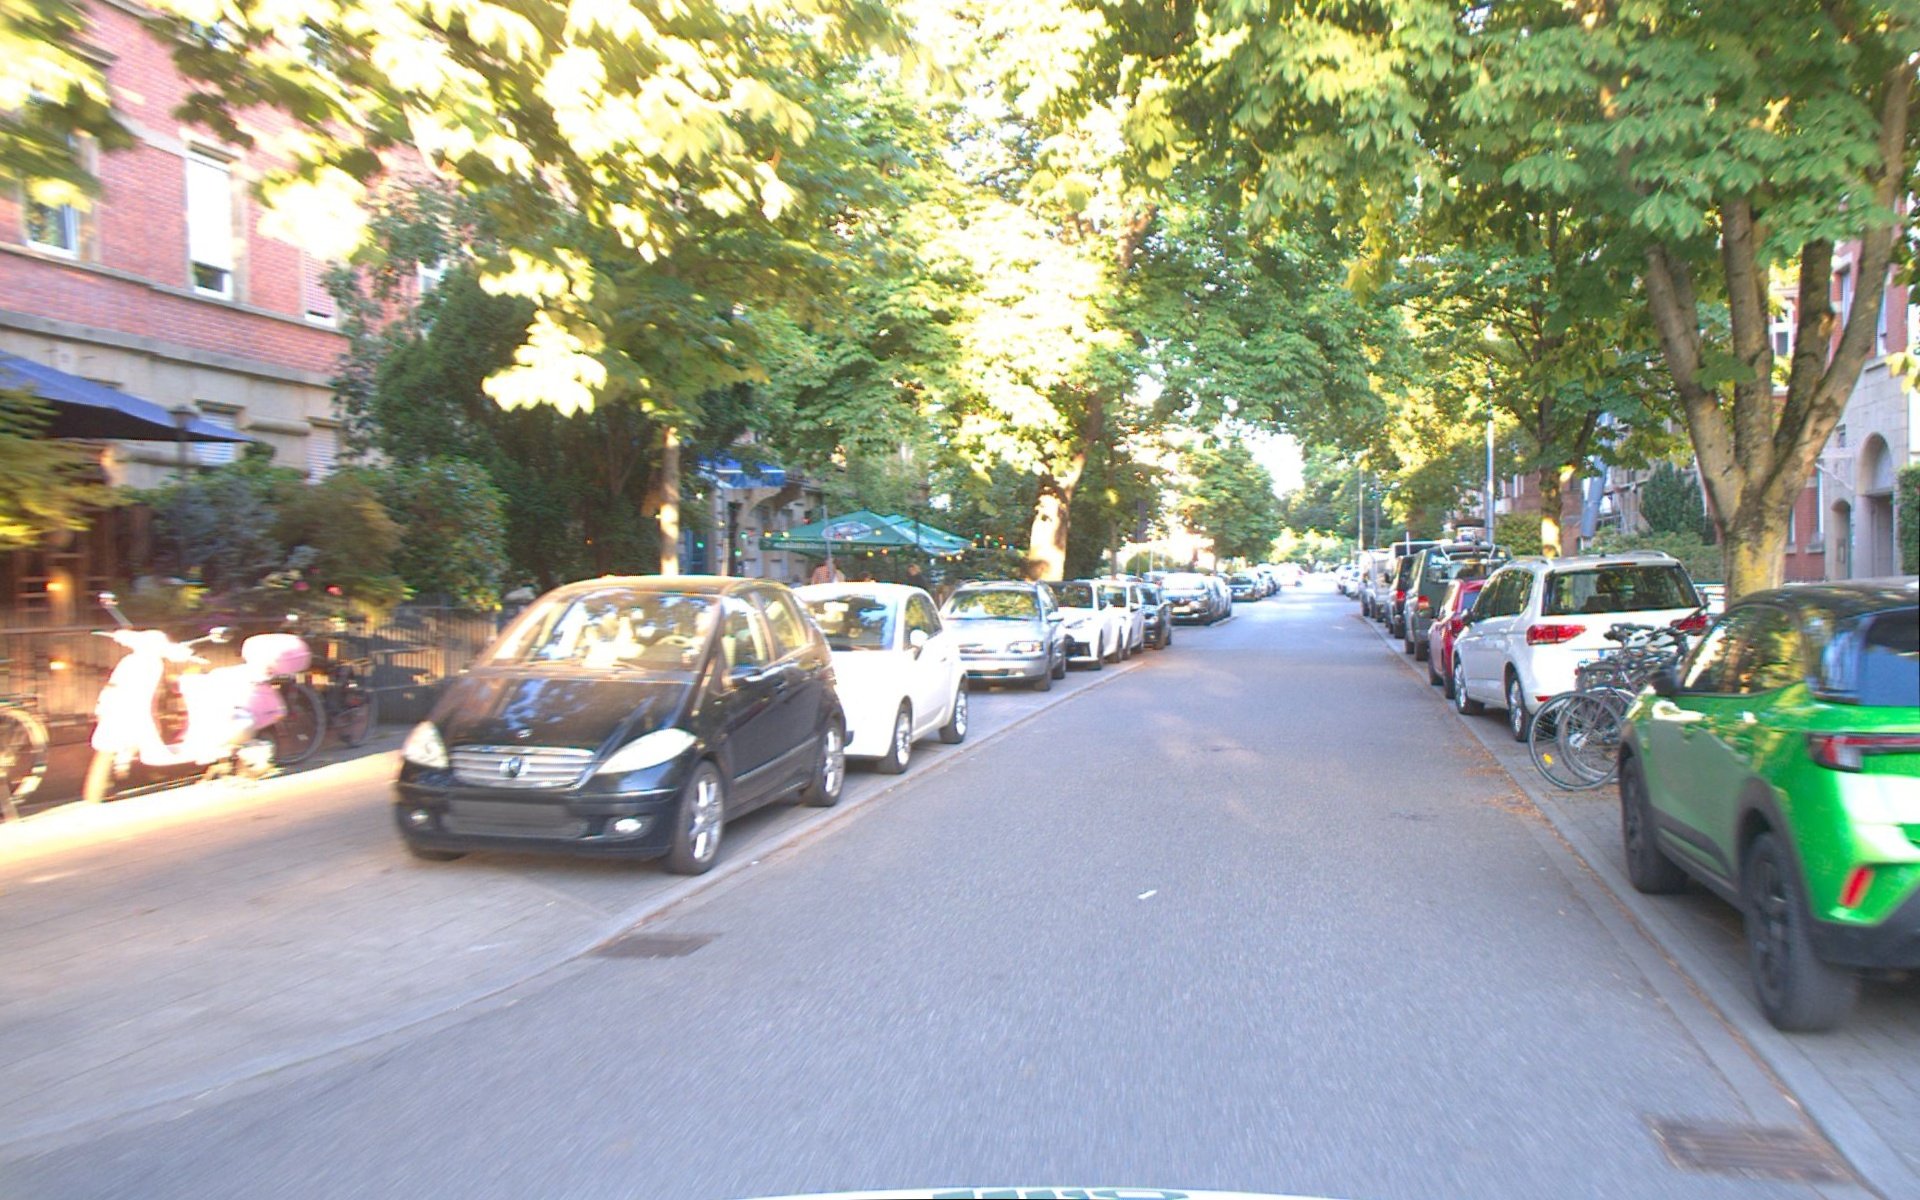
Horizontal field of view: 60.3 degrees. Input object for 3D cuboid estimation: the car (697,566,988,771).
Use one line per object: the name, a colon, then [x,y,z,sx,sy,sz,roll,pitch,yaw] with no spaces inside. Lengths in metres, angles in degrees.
car: [-0.903,0.490,14.724,1.629,1.519,3.714,2,2,11]

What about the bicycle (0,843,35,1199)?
bicycle: [-2.174,0.959,2.097,0.526,1.052,1.907,-1,-1,17]

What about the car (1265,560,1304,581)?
car: [36.592,-3.315,186.403,4.257,2.358,1.747,0,1,11]

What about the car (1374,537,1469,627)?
car: [11.288,-0.480,40.694,1.800,1.976,4.618,-3,1,11]

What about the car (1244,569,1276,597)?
car: [19.470,-1.110,107.205,1.880,1.747,4.432,0,1,12]

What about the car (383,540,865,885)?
car: [-1.864,0.519,10.425,1.629,1.706,3.851,2,2,10]

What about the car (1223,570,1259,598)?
car: [15.503,-0.891,91.126,1.582,1.496,3.964,0,1,15]

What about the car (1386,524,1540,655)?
car: [9.063,-0.232,30.206,1.912,2.094,4.835,-3,1,9]

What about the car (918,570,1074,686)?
car: [0.617,0.320,23.786,1.801,1.436,4.604,0,2,7]

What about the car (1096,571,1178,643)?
car: [4.052,0.122,37.510,1.518,1.511,3.697,-1,1,11]

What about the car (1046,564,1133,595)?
car: [6.508,-1.040,83.071,4.008,1.472,1.709,0,2,21]

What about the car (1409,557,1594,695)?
car: [6.848,0.266,21.253,1.629,1.526,3.697,-3,1,9]

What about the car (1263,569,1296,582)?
car: [35.515,-2.734,183.824,3.541,1.486,1.608,0,1,9]

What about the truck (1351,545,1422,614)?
truck: [15.190,-0.733,59.182,1.935,2.284,6.783,-1,0,10]

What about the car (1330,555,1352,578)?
car: [33.030,-2.895,143.333,1.644,1.975,3.884,0,0,10]

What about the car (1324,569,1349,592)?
car: [28.199,-1.458,123.928,1.651,1.634,3.943,0,0,10]

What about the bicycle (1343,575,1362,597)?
bicycle: [21.830,-0.798,91.975,0.436,1.193,1.629,0,1,37]

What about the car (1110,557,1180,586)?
car: [11.196,-1.732,99.935,4.005,1.554,1.711,3,1,11]

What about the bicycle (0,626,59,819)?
bicycle: [-6.271,0.766,9.673,0.383,1.163,1.957,2,1,22]

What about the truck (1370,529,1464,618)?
truck: [12.892,-0.778,46.867,1.912,2.285,4.649,-3,1,9]

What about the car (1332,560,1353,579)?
car: [32.263,-2.579,139.479,1.505,1.548,3.435,0,0,10]

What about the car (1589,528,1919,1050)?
car: [3.947,0.513,6.962,1.694,1.583,3.966,-3,1,11]

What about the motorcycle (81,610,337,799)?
motorcycle: [-5.346,0.697,11.919,0.383,1.206,1.956,1,1,22]

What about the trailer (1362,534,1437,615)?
trailer: [13.827,-0.804,52.216,1.912,2.335,4.649,-3,0,12]

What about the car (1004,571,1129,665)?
car: [1.931,0.260,28.947,1.569,1.460,3.889,2,2,13]

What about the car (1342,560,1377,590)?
car: [24.367,-1.516,101.004,1.759,1.741,4.605,-1,0,10]

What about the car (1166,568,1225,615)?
car: [8.076,-0.292,56.496,1.653,1.528,4.406,-1,0,12]

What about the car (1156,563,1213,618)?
car: [7.088,-0.352,52.148,1.654,1.590,4.407,2,2,8]

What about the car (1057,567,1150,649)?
car: [2.963,0.121,33.617,1.518,1.511,3.697,2,2,10]

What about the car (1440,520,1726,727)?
car: [6.014,0.159,16.451,1.629,1.707,4.123,-3,1,7]

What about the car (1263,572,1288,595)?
car: [22.964,-1.210,120.147,1.679,1.593,3.791,0,1,12]
